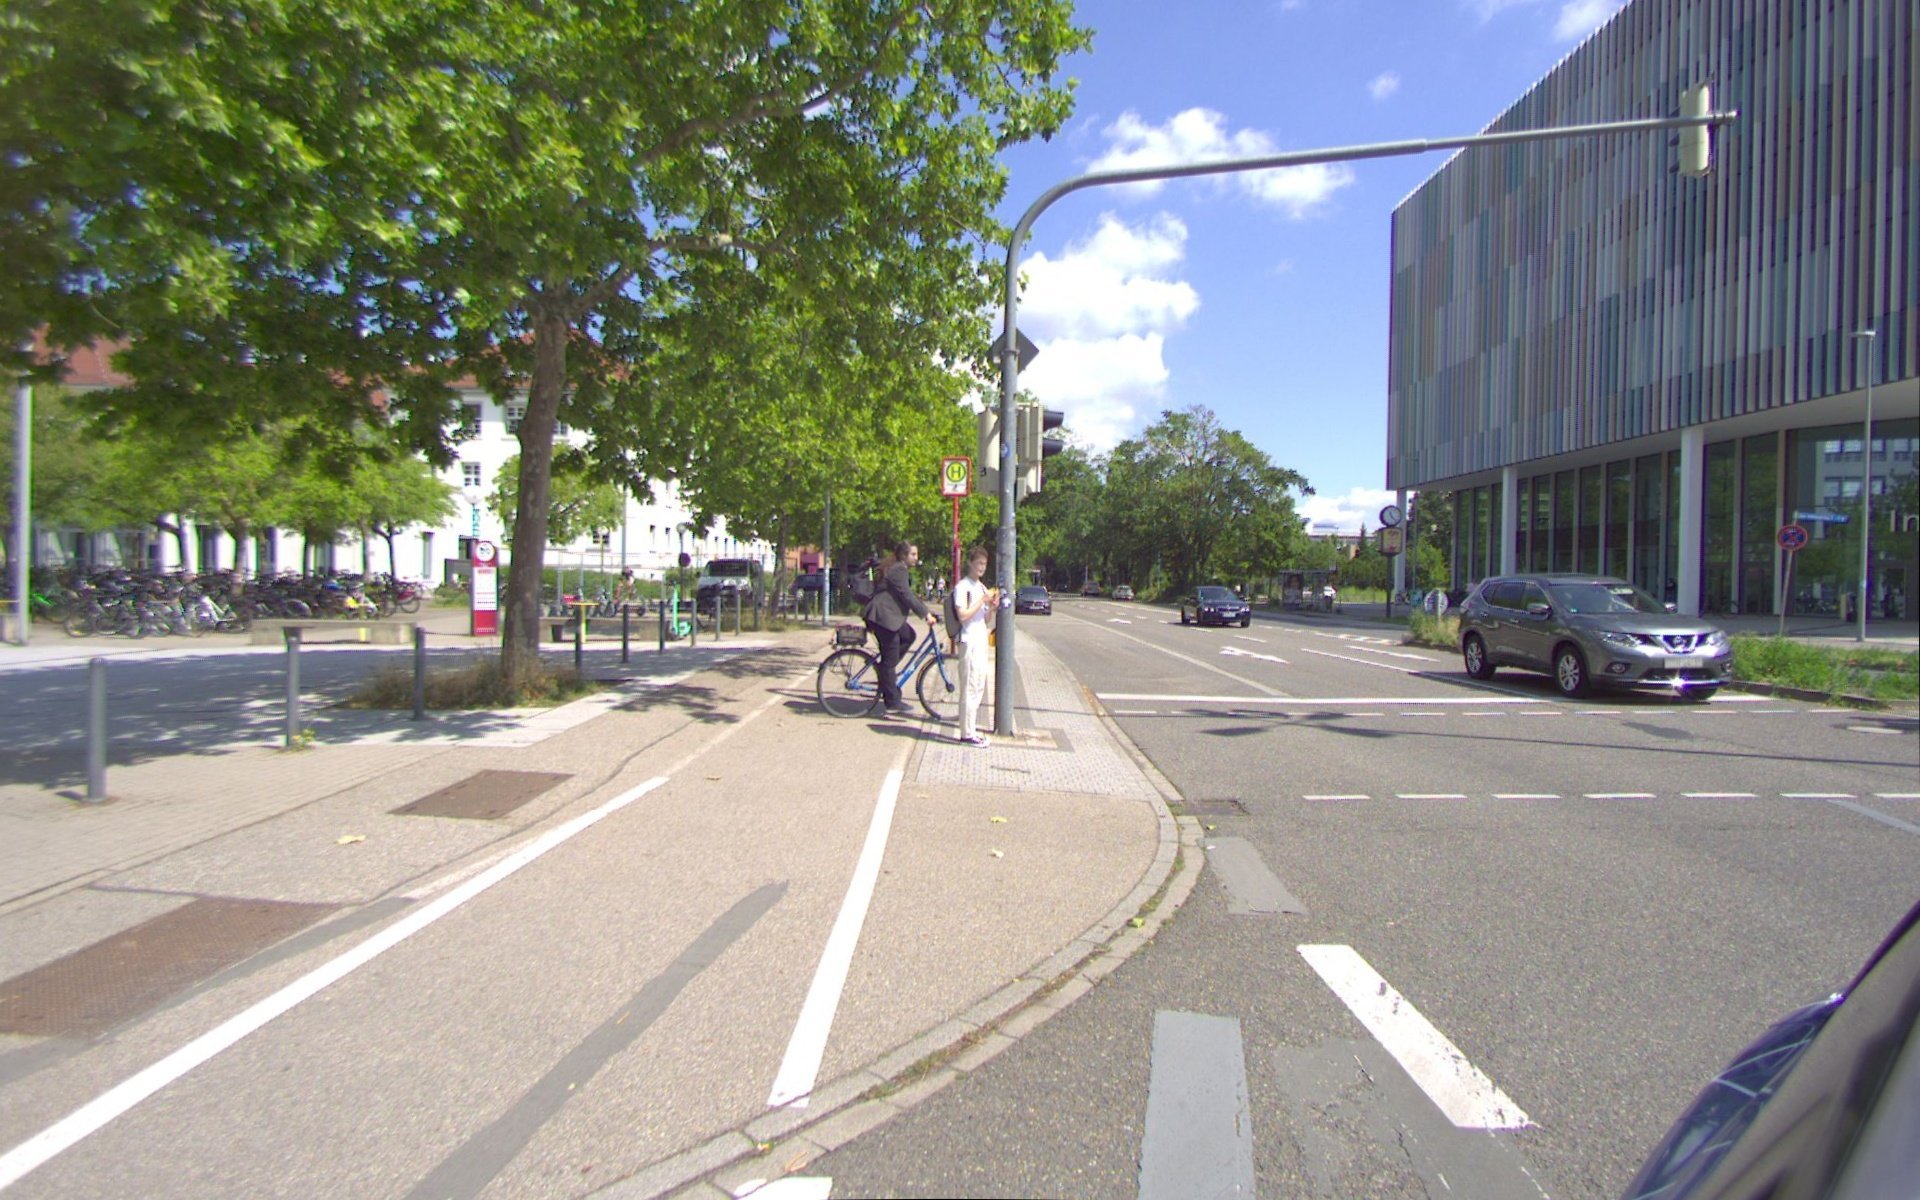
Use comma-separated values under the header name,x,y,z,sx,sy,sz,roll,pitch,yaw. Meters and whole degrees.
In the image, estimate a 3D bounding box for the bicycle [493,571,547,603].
name,x,y,z,sx,sy,sz,roll,pitch,yaw
bicycle,-15.977,-0.480,36.735,1.732,1.112,0.604,-2,1,-30

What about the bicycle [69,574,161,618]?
name,x,y,z,sx,sy,sz,roll,pitch,yaw
bicycle,-21.950,-0.119,26.325,1.733,1.112,0.604,-2,1,-30

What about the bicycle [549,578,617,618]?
name,x,y,z,sx,sy,sz,roll,pitch,yaw
bicycle,-10.827,-0.067,29.090,1.732,1.112,0.604,-2,1,-30

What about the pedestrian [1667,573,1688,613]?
name,x,y,z,sx,sy,sz,roll,pitch,yaw
pedestrian,33.481,-0.349,47.225,0.551,1.865,0.555,0,1,-7

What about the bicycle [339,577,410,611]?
name,x,y,z,sx,sy,sz,roll,pitch,yaw
bicycle,-16.781,-0.172,29.050,1.732,0.966,0.604,0,0,-30

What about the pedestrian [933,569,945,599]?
name,x,y,z,sx,sy,sz,roll,pitch,yaw
pedestrian,-1.285,-1.001,61.754,0.671,1.803,0.792,-1,1,-3

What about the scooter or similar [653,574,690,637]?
name,x,y,z,sx,sy,sz,roll,pitch,yaw
scooter or similar,-5.626,0.086,19.748,0.347,1.180,1.192,-1,1,1

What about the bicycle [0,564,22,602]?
name,x,y,z,sx,sy,sz,roll,pitch,yaw
bicycle,-28.268,-0.478,29.149,1.733,1.112,0.604,-2,1,-30

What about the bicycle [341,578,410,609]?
name,x,y,z,sx,sy,sz,roll,pitch,yaw
bicycle,-17.176,-0.180,29.756,1.732,0.879,0.485,0,0,-30

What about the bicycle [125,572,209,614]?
name,x,y,z,sx,sy,sz,roll,pitch,yaw
bicycle,-21.878,-0.194,27.971,1.733,1.112,0.604,-2,1,-30

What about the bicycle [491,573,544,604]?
name,x,y,z,sx,sy,sz,roll,pitch,yaw
bicycle,-16.454,-0.428,37.674,1.732,1.112,0.604,-2,1,-30

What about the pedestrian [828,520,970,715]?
name,x,y,z,sx,sy,sz,roll,pitch,yaw
pedestrian,-0.643,0.162,10.366,1.151,1.841,0.859,4,3,-16

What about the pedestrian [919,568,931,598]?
name,x,y,z,sx,sy,sz,roll,pitch,yaw
pedestrian,-2.105,-1.043,61.434,0.670,1.803,0.792,-1,1,-5

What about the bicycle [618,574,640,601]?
name,x,y,z,sx,sy,sz,roll,pitch,yaw
bicycle,-14.675,-0.570,44.892,0.595,1.152,1.591,2,1,-8

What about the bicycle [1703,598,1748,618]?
name,x,y,z,sx,sy,sz,roll,pitch,yaw
bicycle,31.728,0.332,41.940,1.519,0.785,0.373,-1,1,5

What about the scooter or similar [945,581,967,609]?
name,x,y,z,sx,sy,sz,roll,pitch,yaw
scooter or similar,-0.165,-0.204,44.606,0.522,1.184,1.568,2,0,14

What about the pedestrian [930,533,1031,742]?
name,x,y,z,sx,sy,sz,roll,pitch,yaw
pedestrian,0.185,0.322,9.227,0.599,1.823,0.596,2,1,-35

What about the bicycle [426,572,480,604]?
name,x,y,z,sx,sy,sz,roll,pitch,yaw
bicycle,-18.594,-0.452,37.152,1.732,1.112,0.604,-2,1,-30

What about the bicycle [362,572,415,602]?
name,x,y,z,sx,sy,sz,roll,pitch,yaw
bicycle,-22.159,-0.505,39.253,1.733,1.112,0.604,-2,1,-30

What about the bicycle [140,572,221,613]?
name,x,y,z,sx,sy,sz,roll,pitch,yaw
bicycle,-22.069,-0.227,28.680,1.733,1.112,0.604,-2,1,-30

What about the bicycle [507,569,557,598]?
name,x,y,z,sx,sy,sz,roll,pitch,yaw
bicycle,-16.973,-0.672,40.148,1.733,1.112,0.604,-2,1,-30

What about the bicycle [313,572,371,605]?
name,x,y,z,sx,sy,sz,roll,pitch,yaw
bicycle,-22.025,-0.419,36.116,1.733,1.112,0.604,-2,1,-30

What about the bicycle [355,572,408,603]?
name,x,y,z,sx,sy,sz,roll,pitch,yaw
bicycle,-22.027,-0.487,38.543,1.733,1.112,0.604,-2,1,-30

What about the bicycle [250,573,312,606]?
name,x,y,z,sx,sy,sz,roll,pitch,yaw
bicycle,-23.633,-0.370,35.233,1.733,1.112,0.604,-2,1,-30

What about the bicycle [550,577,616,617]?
name,x,y,z,sx,sy,sz,roll,pitch,yaw
bicycle,-11.085,-0.092,29.747,1.732,1.112,0.604,-2,1,-30

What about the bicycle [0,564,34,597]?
name,x,y,z,sx,sy,sz,roll,pitch,yaw
bicycle,-33.476,-0.671,35.214,1.733,1.112,0.604,-2,1,-30

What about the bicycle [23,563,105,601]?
name,x,y,z,sx,sy,sz,roll,pitch,yaw
bicycle,-27.154,-0.557,30.699,1.733,1.112,0.604,-2,1,-30

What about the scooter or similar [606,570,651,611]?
name,x,y,z,sx,sy,sz,roll,pitch,yaw
scooter or similar,-10.124,-0.289,30.942,1.271,1.248,0.281,0,2,-13

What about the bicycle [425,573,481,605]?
name,x,y,z,sx,sy,sz,roll,pitch,yaw
bicycle,-17.963,-0.403,35.865,1.732,1.112,0.604,-2,1,-30

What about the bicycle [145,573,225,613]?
name,x,y,z,sx,sy,sz,roll,pitch,yaw
bicycle,-22.377,-0.223,29.258,1.733,1.112,0.604,-2,1,-30

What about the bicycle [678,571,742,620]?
name,x,y,z,sx,sy,sz,roll,pitch,yaw
bicycle,-6.291,-0.144,25.554,0.787,1.198,2.025,0,1,11

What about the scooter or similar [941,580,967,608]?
name,x,y,z,sx,sy,sz,roll,pitch,yaw
scooter or similar,-0.289,-0.265,46.934,0.526,1.262,1.273,3,0,35

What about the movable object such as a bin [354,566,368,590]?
name,x,y,z,sx,sy,sz,roll,pitch,yaw
movable object such as a bin,-26.890,-0.990,45.425,0.381,1.068,0.368,2,1,-4

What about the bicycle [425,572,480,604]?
name,x,y,z,sx,sy,sz,roll,pitch,yaw
bicycle,-18.311,-0.452,36.498,1.732,1.112,0.604,-2,1,-30

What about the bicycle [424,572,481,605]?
name,x,y,z,sx,sy,sz,roll,pitch,yaw
bicycle,-17.594,-0.410,35.090,1.732,1.112,0.604,-2,1,-30

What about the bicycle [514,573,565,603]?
name,x,y,z,sx,sy,sz,roll,pitch,yaw
bicycle,-16.224,-0.474,39.081,1.733,1.112,0.604,-2,1,-30
